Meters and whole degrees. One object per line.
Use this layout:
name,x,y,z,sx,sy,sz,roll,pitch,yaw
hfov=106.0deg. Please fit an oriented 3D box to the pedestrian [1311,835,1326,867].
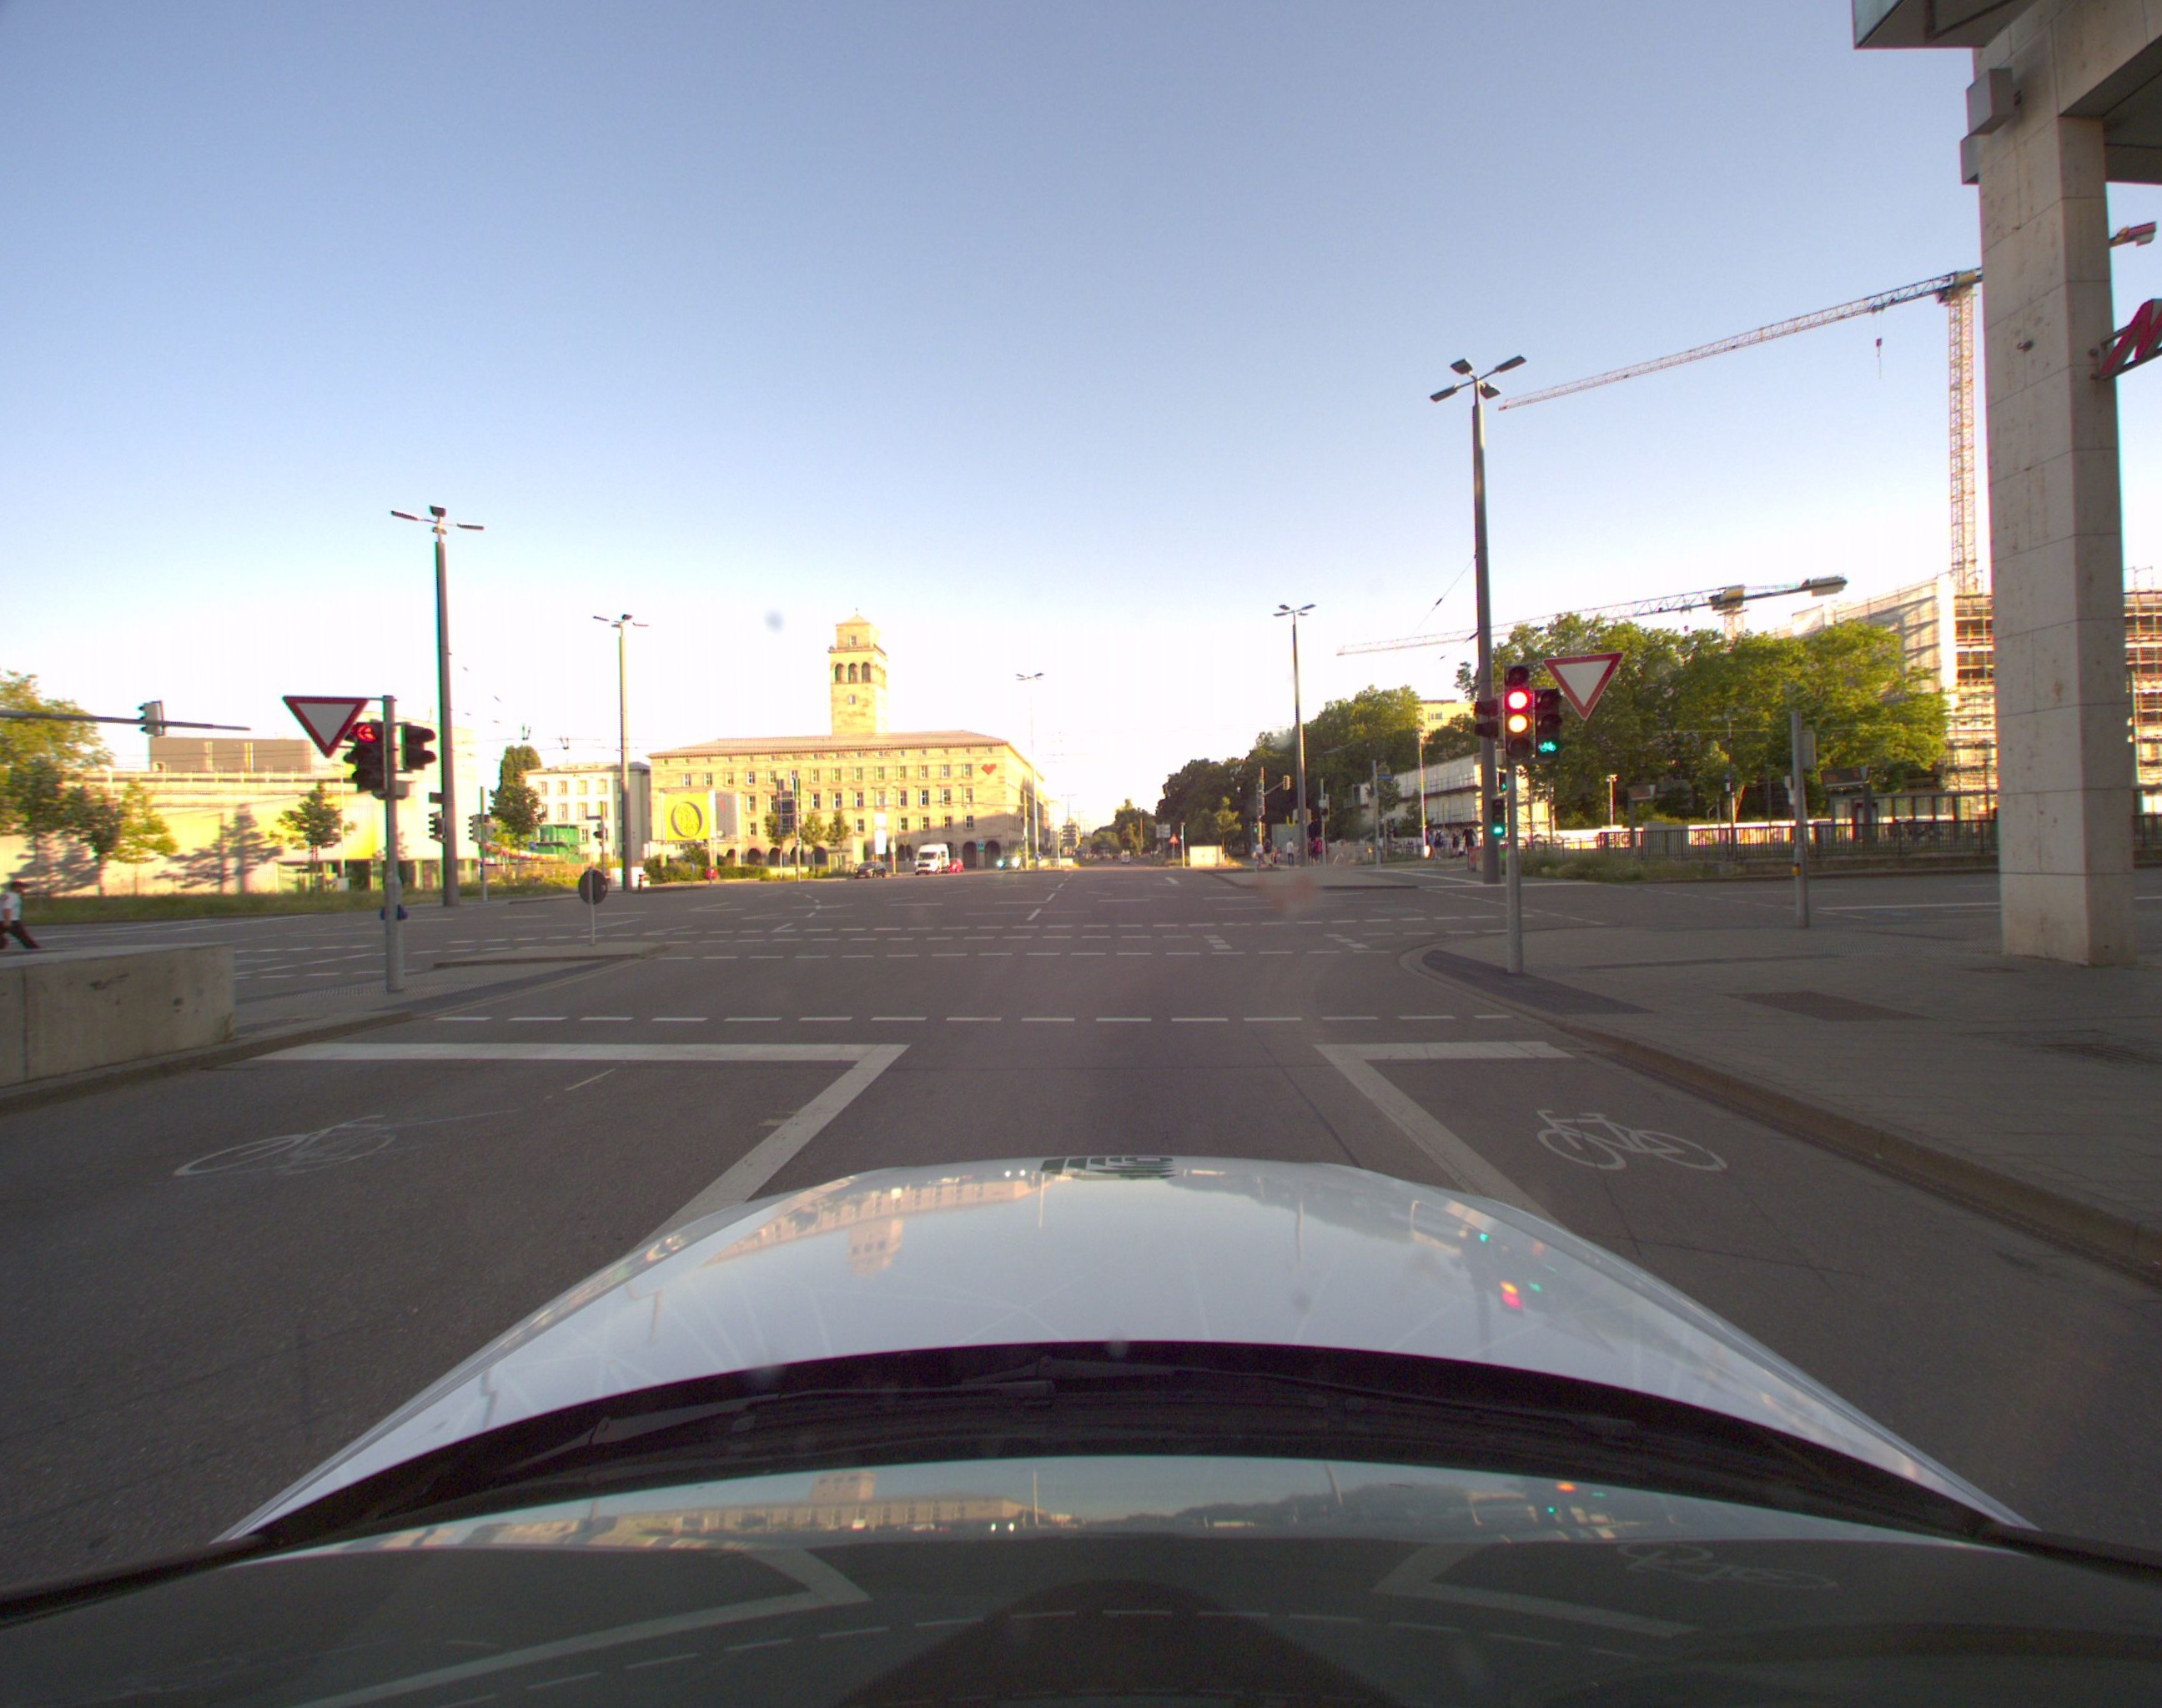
pedestrian,13.657,-0.171,46.797,0.799,1.791,0.804,-2,0,15

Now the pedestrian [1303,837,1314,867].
pedestrian,13.442,-0.126,48.078,0.568,1.791,0.641,-2,0,16

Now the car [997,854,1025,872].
car,-6.193,0.779,72.373,1.815,1.341,4.005,-2,1,4

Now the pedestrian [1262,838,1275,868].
pedestrian,10.917,-0.080,47.430,0.706,1.725,0.918,-2,1,13

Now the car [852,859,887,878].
car,-18.296,1.239,70.617,1.817,1.466,4.158,-2,1,0

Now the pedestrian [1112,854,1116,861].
pedestrian,7.825,0.911,194.421,0.903,1.671,1.307,-2,1,1

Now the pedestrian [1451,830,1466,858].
pedestrian,20.179,-0.529,43.538,0.670,1.441,0.718,-2,0,24

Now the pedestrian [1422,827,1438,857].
pedestrian,18.956,-0.629,44.221,0.569,1.592,0.537,-2,0,1

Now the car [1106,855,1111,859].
car,7.869,0.864,234.810,1.364,1.234,3.046,-2,1,2

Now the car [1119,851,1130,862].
car,6.791,0.397,128.535,1.479,1.696,2.972,-2,0,-1

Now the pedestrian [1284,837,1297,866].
pedestrian,12.675,-0.150,49.319,0.706,1.725,0.918,-2,1,11

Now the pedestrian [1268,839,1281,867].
pedestrian,12.353,-0.074,52.069,0.705,1.725,0.671,-2,0,19

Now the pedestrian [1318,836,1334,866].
pedestrian,14.382,-0.194,47.822,0.838,1.734,0.708,-2,0,14

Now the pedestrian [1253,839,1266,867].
pedestrian,11.460,-0.066,52.307,0.705,1.725,0.671,-2,0,15

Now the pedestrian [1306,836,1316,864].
pedestrian,14.011,-0.230,49.647,0.568,1.678,0.641,-2,0,16

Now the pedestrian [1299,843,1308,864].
pedestrian,15.748,-0.061,57.750,0.568,1.437,0.641,-2,0,13

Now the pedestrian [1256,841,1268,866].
pedestrian,13.395,-0.036,60.265,0.673,1.757,0.907,-2,1,22

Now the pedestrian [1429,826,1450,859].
pedestrian,18.966,-0.624,43.104,0.671,1.725,0.705,-2,0,-34

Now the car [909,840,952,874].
car,-13.395,0.229,72.714,2.269,2.776,6.090,-2,0,3

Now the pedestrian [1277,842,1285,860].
pedestrian,21.224,-0.296,86.294,0.662,1.842,0.714,-2,1,7

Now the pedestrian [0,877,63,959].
pedestrian,-23.414,1.402,17.882,0.819,1.721,0.958,-2,0,-2

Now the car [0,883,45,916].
car,-58.540,2.484,43.473,4.108,1.604,1.744,-2,0,-1

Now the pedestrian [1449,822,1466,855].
pedestrian,19.783,-0.804,42.852,0.705,1.725,0.671,-2,0,19

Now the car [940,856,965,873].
car,-12.809,1.005,81.166,1.732,1.487,4.001,-2,1,1

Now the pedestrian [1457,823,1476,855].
pedestrian,21.202,-0.823,44.778,0.708,1.725,0.668,-2,0,0
